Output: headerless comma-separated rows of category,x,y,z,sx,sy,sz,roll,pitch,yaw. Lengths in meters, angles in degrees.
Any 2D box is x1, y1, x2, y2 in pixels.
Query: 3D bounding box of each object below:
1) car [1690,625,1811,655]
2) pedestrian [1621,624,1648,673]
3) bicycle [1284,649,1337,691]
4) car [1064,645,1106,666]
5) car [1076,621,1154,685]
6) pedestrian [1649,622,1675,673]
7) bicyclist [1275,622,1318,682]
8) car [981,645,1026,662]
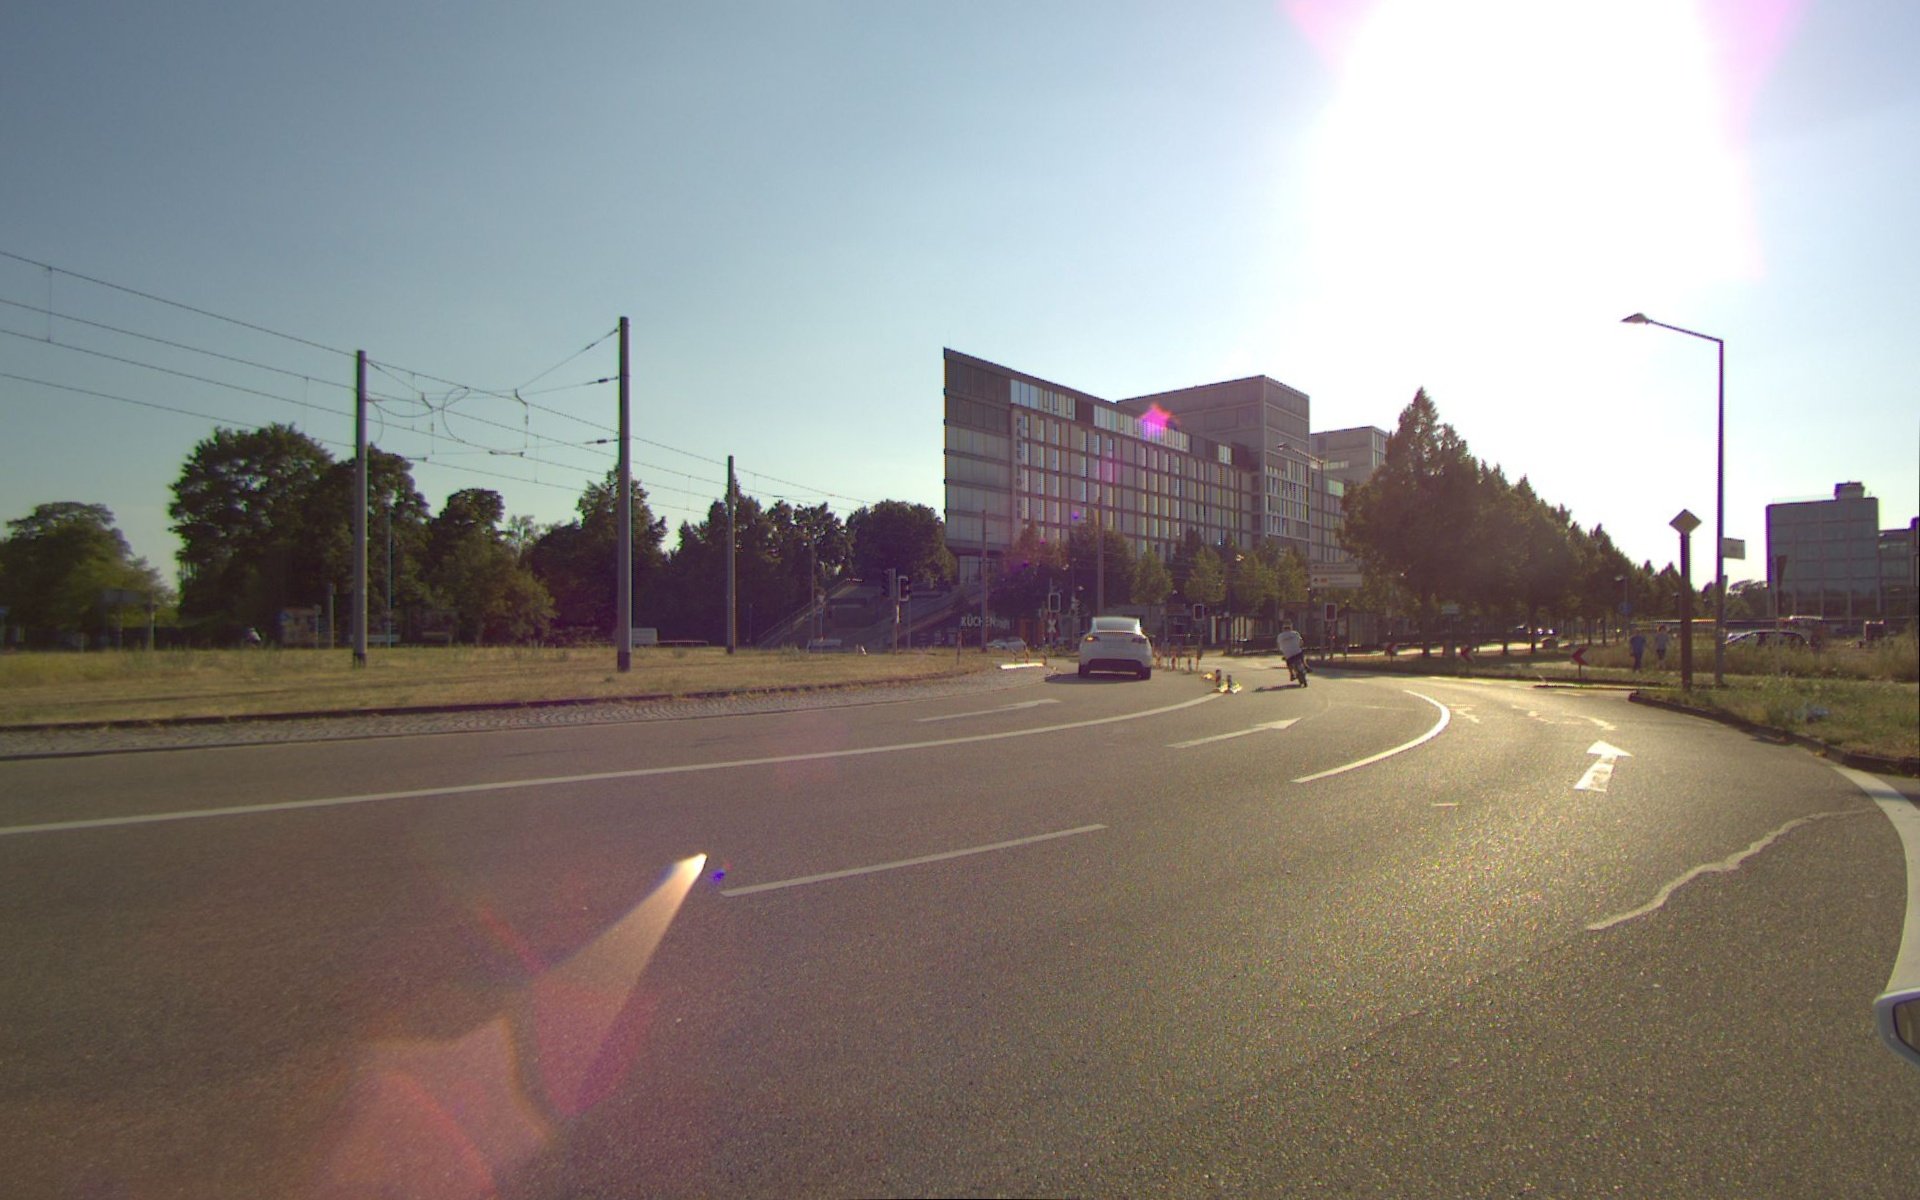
car,37.255,1.882,47.473,4.168,1.381,1.997,-1,-2,29
pedestrian,24.483,1.759,36.464,0.773,1.731,0.810,-1,-2,35
bicycle,8.481,1.666,24.284,0.836,0.941,1.714,-1,-2,33
car,10.112,4.451,81.231,3.310,1.594,1.546,1,-2,-39
car,4.209,1.387,27.397,1.959,1.595,4.003,0,-1,8
pedestrian,25.522,1.716,36.509,0.748,1.799,0.769,-1,-2,37
bicyclist,8.199,1.245,24.476,0.856,1.428,0.626,0,-1,37
car,3.460,4.187,79.278,3.479,1.256,1.638,2,-3,-43
